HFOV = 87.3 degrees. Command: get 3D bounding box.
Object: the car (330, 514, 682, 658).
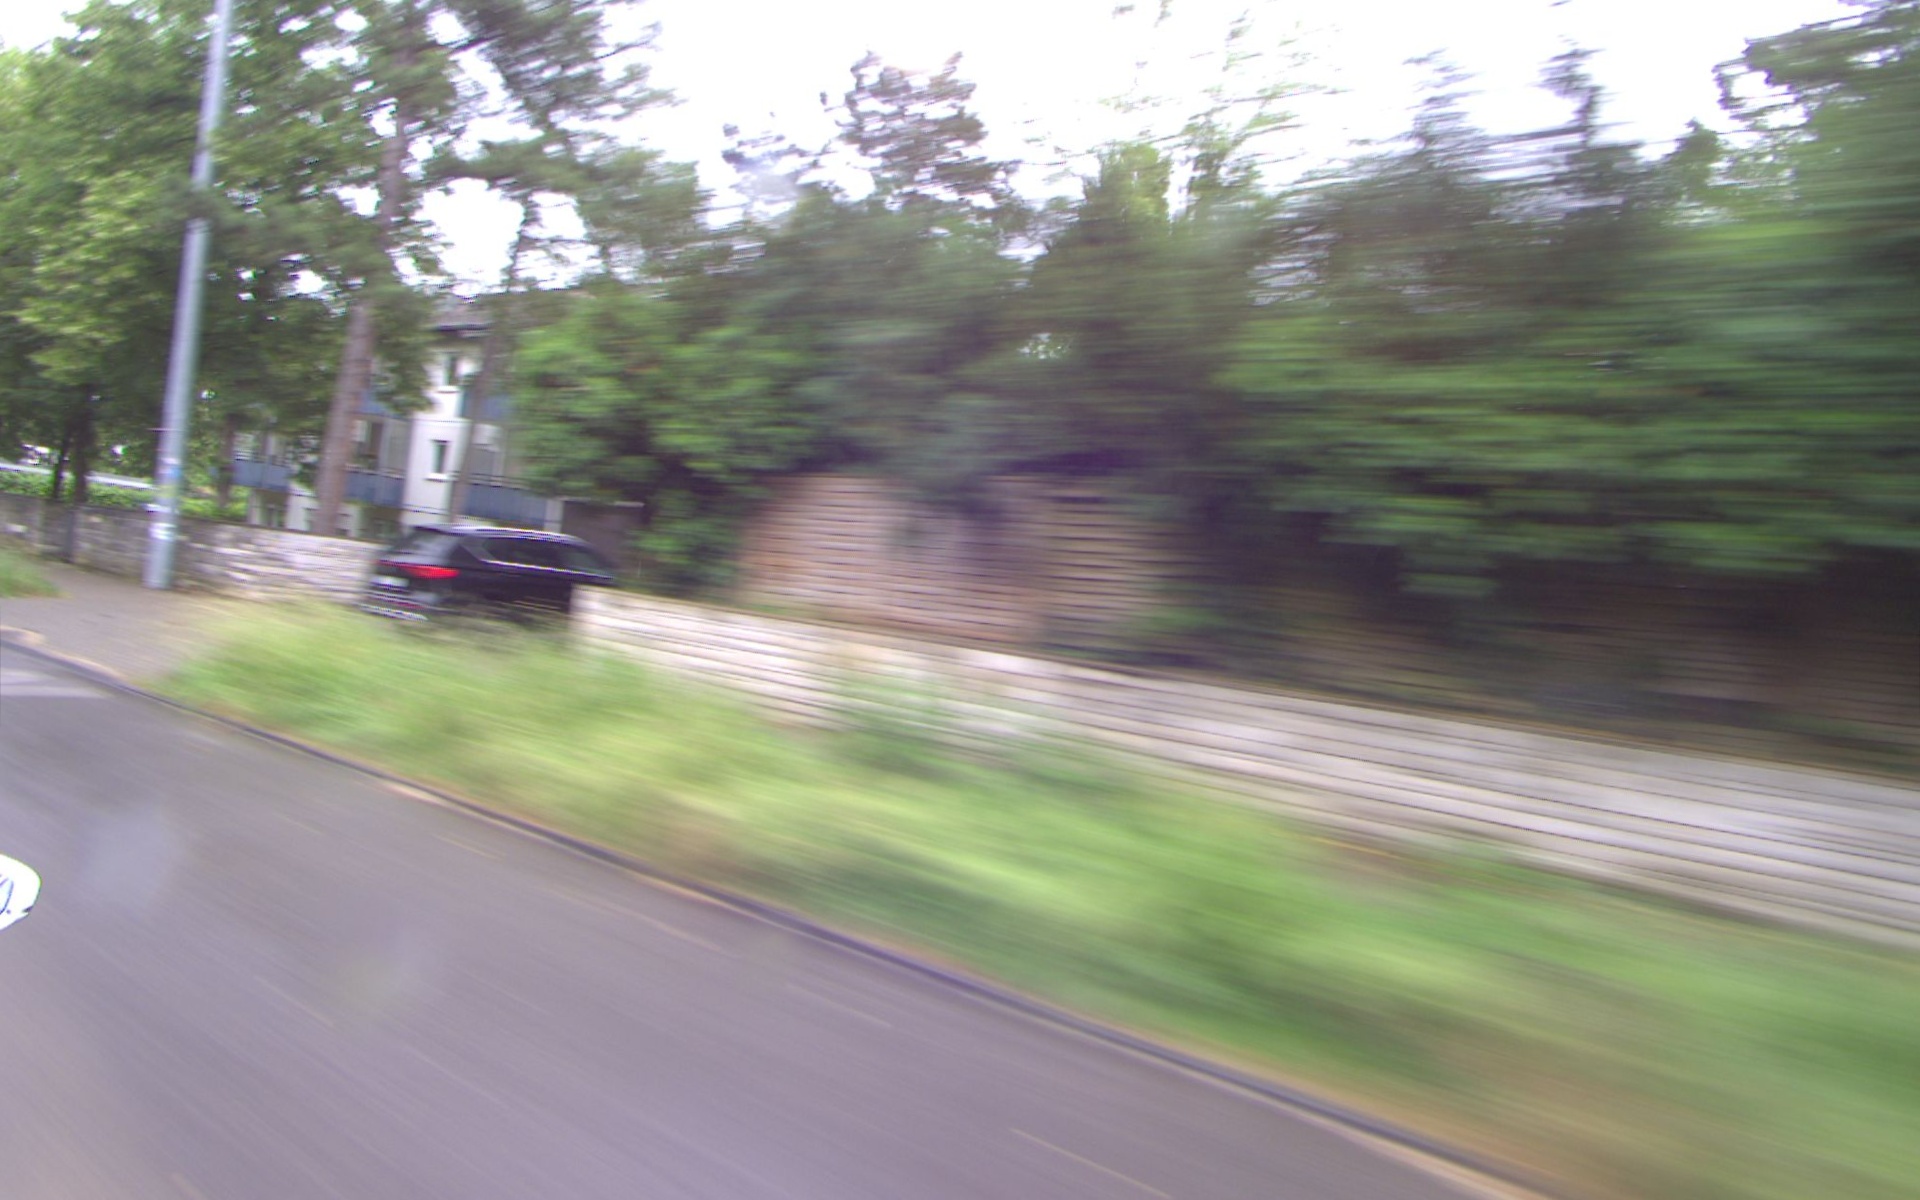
[{"bbox_3d":[-6.487,-0.144,14.875,1.967,1.704,4.310,6,2,32],"label":"car"}]
